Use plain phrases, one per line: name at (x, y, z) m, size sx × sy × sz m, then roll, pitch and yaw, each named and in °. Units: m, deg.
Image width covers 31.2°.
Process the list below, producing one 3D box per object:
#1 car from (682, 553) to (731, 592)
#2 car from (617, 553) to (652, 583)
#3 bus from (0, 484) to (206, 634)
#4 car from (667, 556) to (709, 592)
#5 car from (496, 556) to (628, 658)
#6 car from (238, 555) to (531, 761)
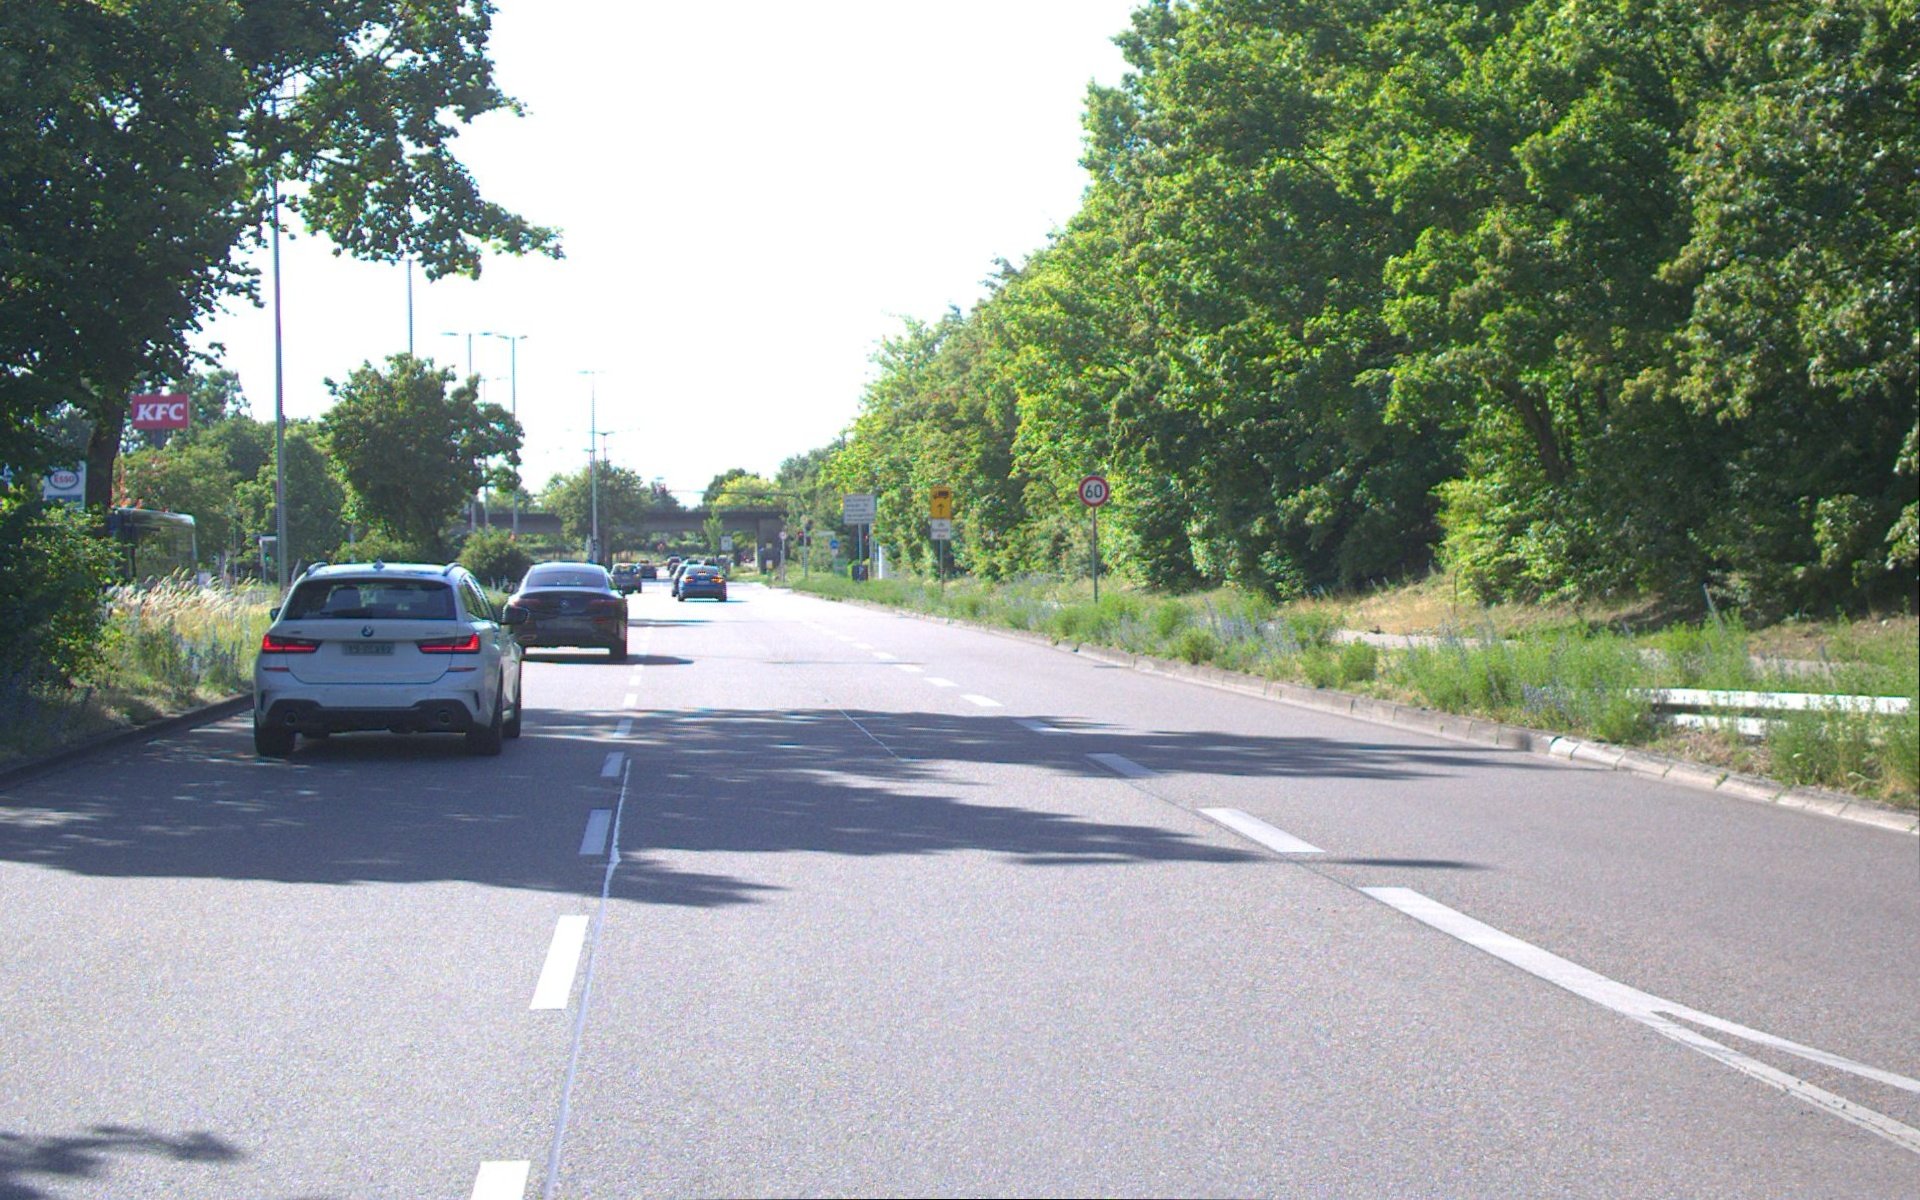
car at (-10.108, -1.106, 137.105) m, size 1.861 × 1.494 × 4.337 m, roll -1°, pitch 1°, yaw -5°
car at (-17.527, -1.731, 185.087) m, size 1.861 × 1.560 × 4.548 m, roll -1°, pitch 1°, yaw -5°
bus at (-17.748, -0.885, 71.042) m, size 2.721 × 2.712 × 11.090 m, roll -4°, pitch 1°, yaw -5°
car at (-12.540, -1.204, 158.202) m, size 1.771 × 1.550 × 3.834 m, roll -1°, pitch 1°, yaw -6°
car at (-6.016, 0.068, 52.391) m, size 1.861 × 1.450 × 4.548 m, roll -1°, pitch 1°, yaw -5°
car at (-4.422, 0.392, 26.997) m, size 1.861 × 1.450 × 4.548 m, roll 0°, pitch 1°, yaw -4°
